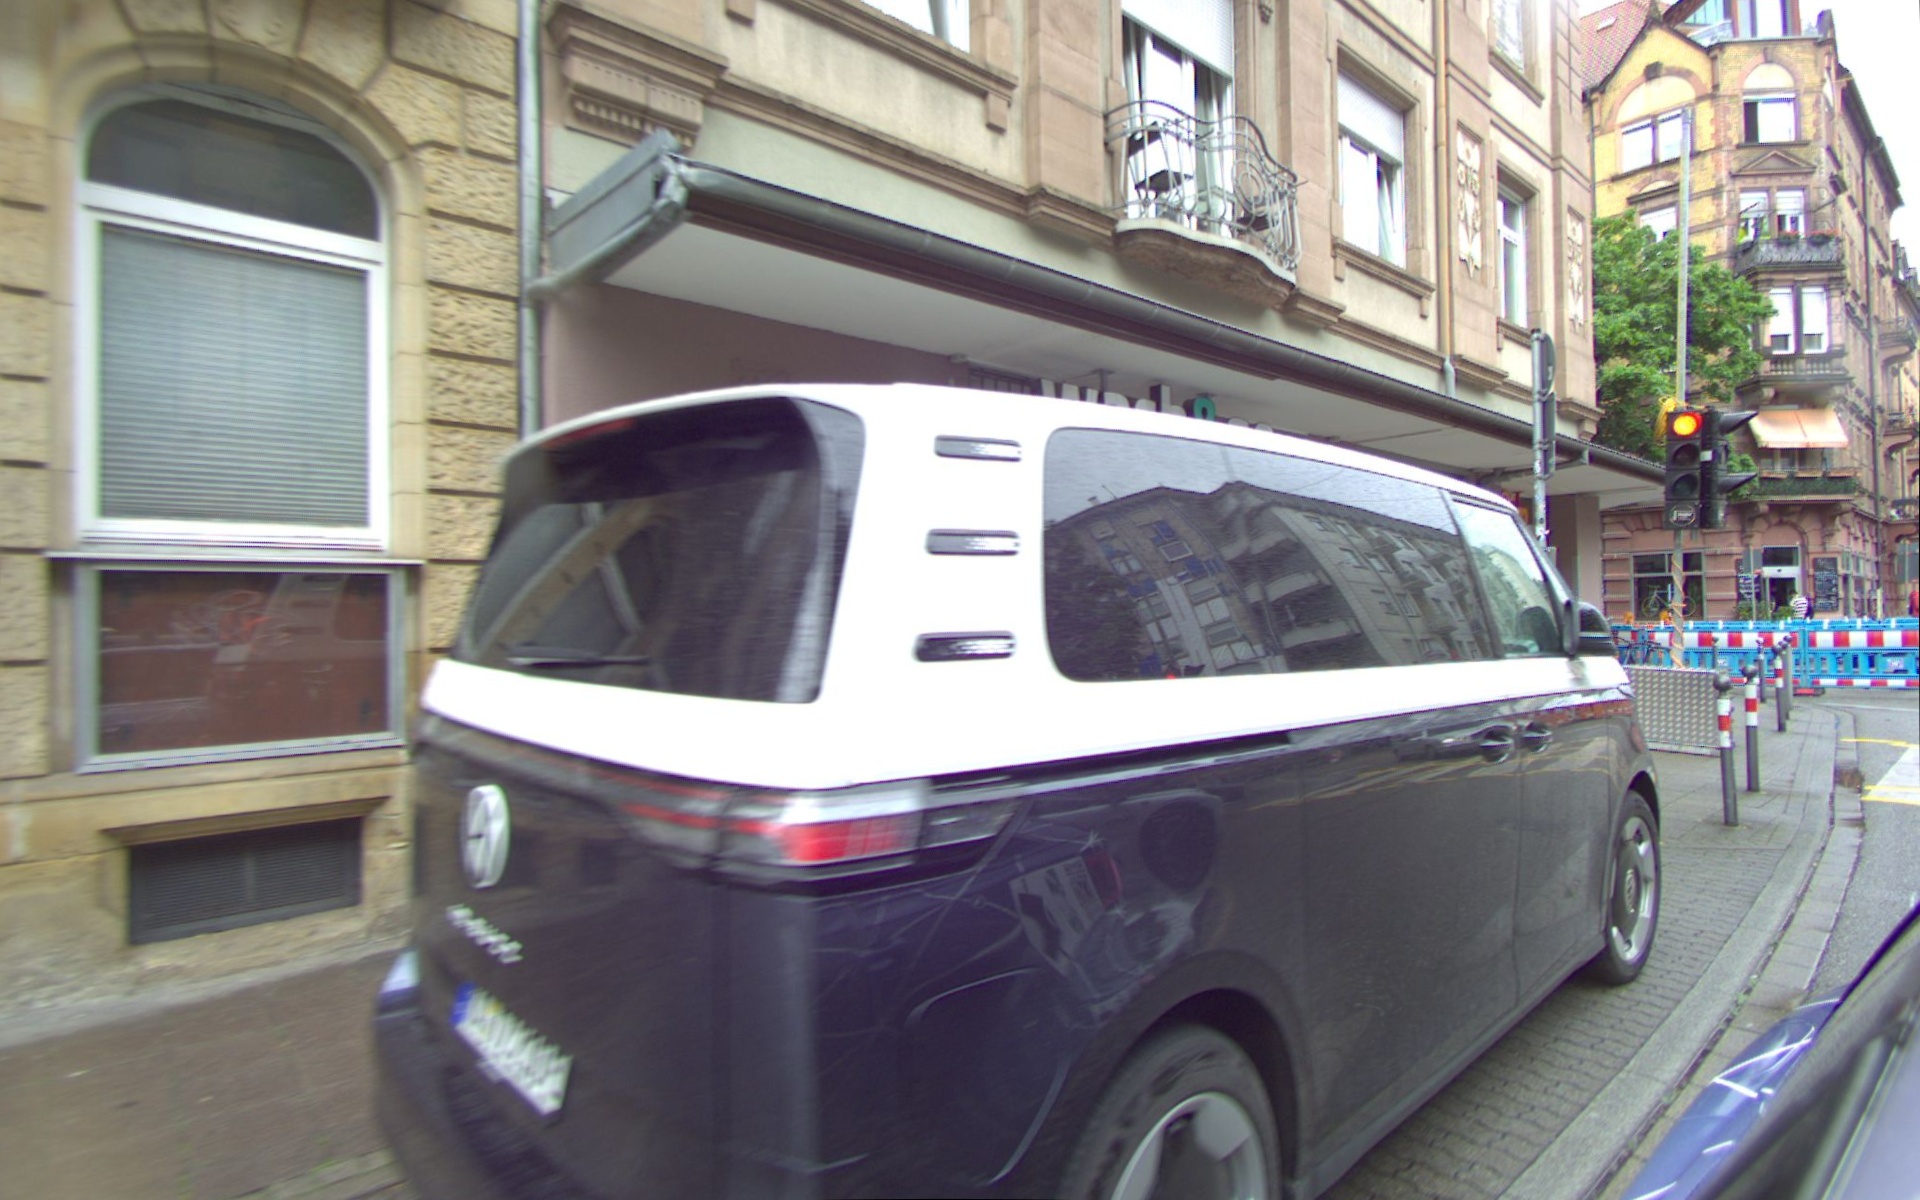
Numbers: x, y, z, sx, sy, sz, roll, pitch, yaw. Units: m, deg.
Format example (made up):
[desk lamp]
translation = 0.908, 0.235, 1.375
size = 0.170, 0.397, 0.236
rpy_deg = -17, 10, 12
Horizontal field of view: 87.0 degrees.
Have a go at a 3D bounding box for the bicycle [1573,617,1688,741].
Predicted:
[bicycle]
translation = 6.996, 0.767, 10.525
size = 0.624, 1.142, 1.907
rpy_deg = -2, -1, 45

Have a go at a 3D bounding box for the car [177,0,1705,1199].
[car]
translation = 0.751, 0.444, 3.368
size = 5.145, 1.963, 1.995
rpy_deg = -1, 1, -44

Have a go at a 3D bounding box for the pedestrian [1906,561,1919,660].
[pedestrian]
translation = 25.932, 0.269, 27.036
size = 0.686, 2.642, 0.537
rpy_deg = -2, -1, 17
